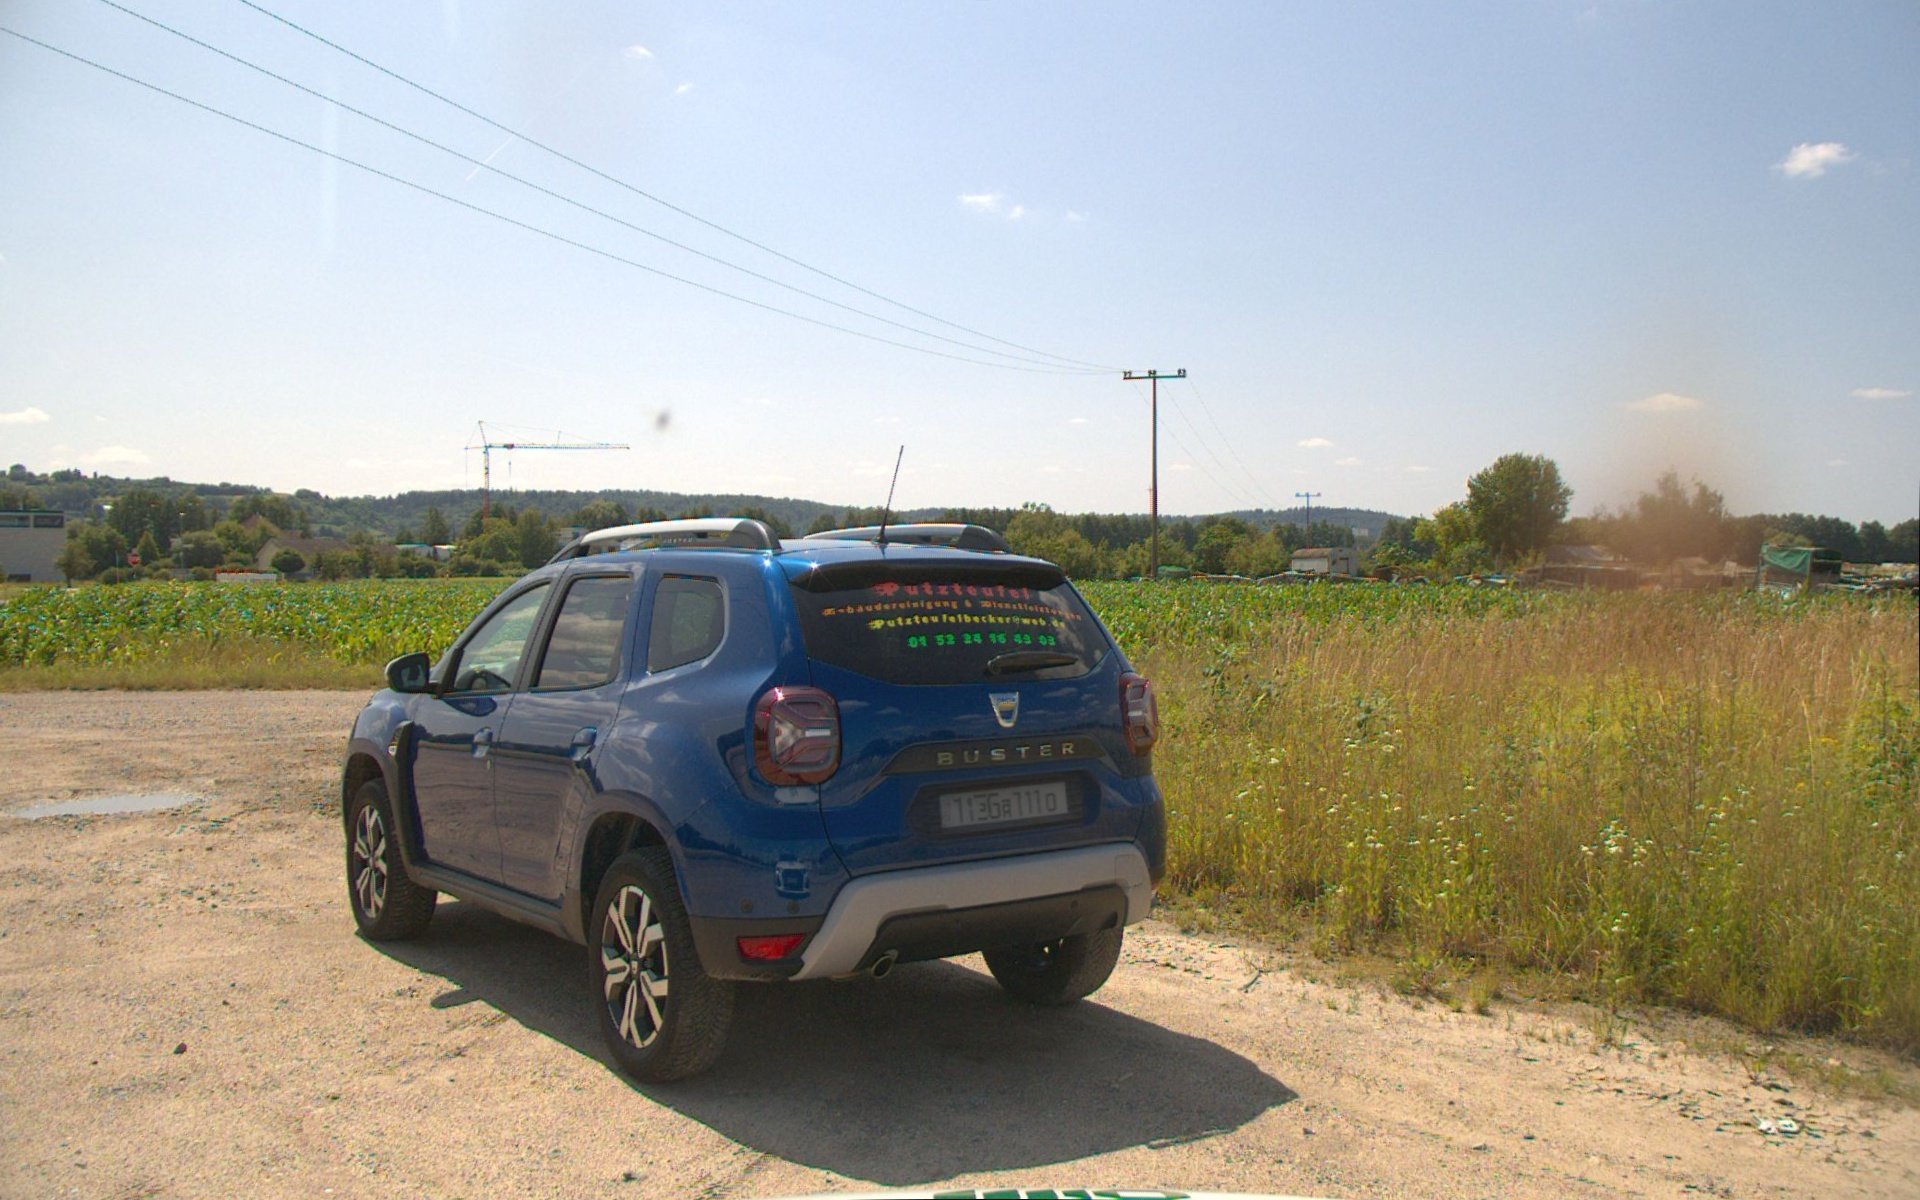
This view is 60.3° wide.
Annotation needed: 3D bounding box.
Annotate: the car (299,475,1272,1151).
[{"bbox_3d":[-1.042,0.538,6.477,1.844,1.690,4.400,0,0,-36],"label":"car"}]
